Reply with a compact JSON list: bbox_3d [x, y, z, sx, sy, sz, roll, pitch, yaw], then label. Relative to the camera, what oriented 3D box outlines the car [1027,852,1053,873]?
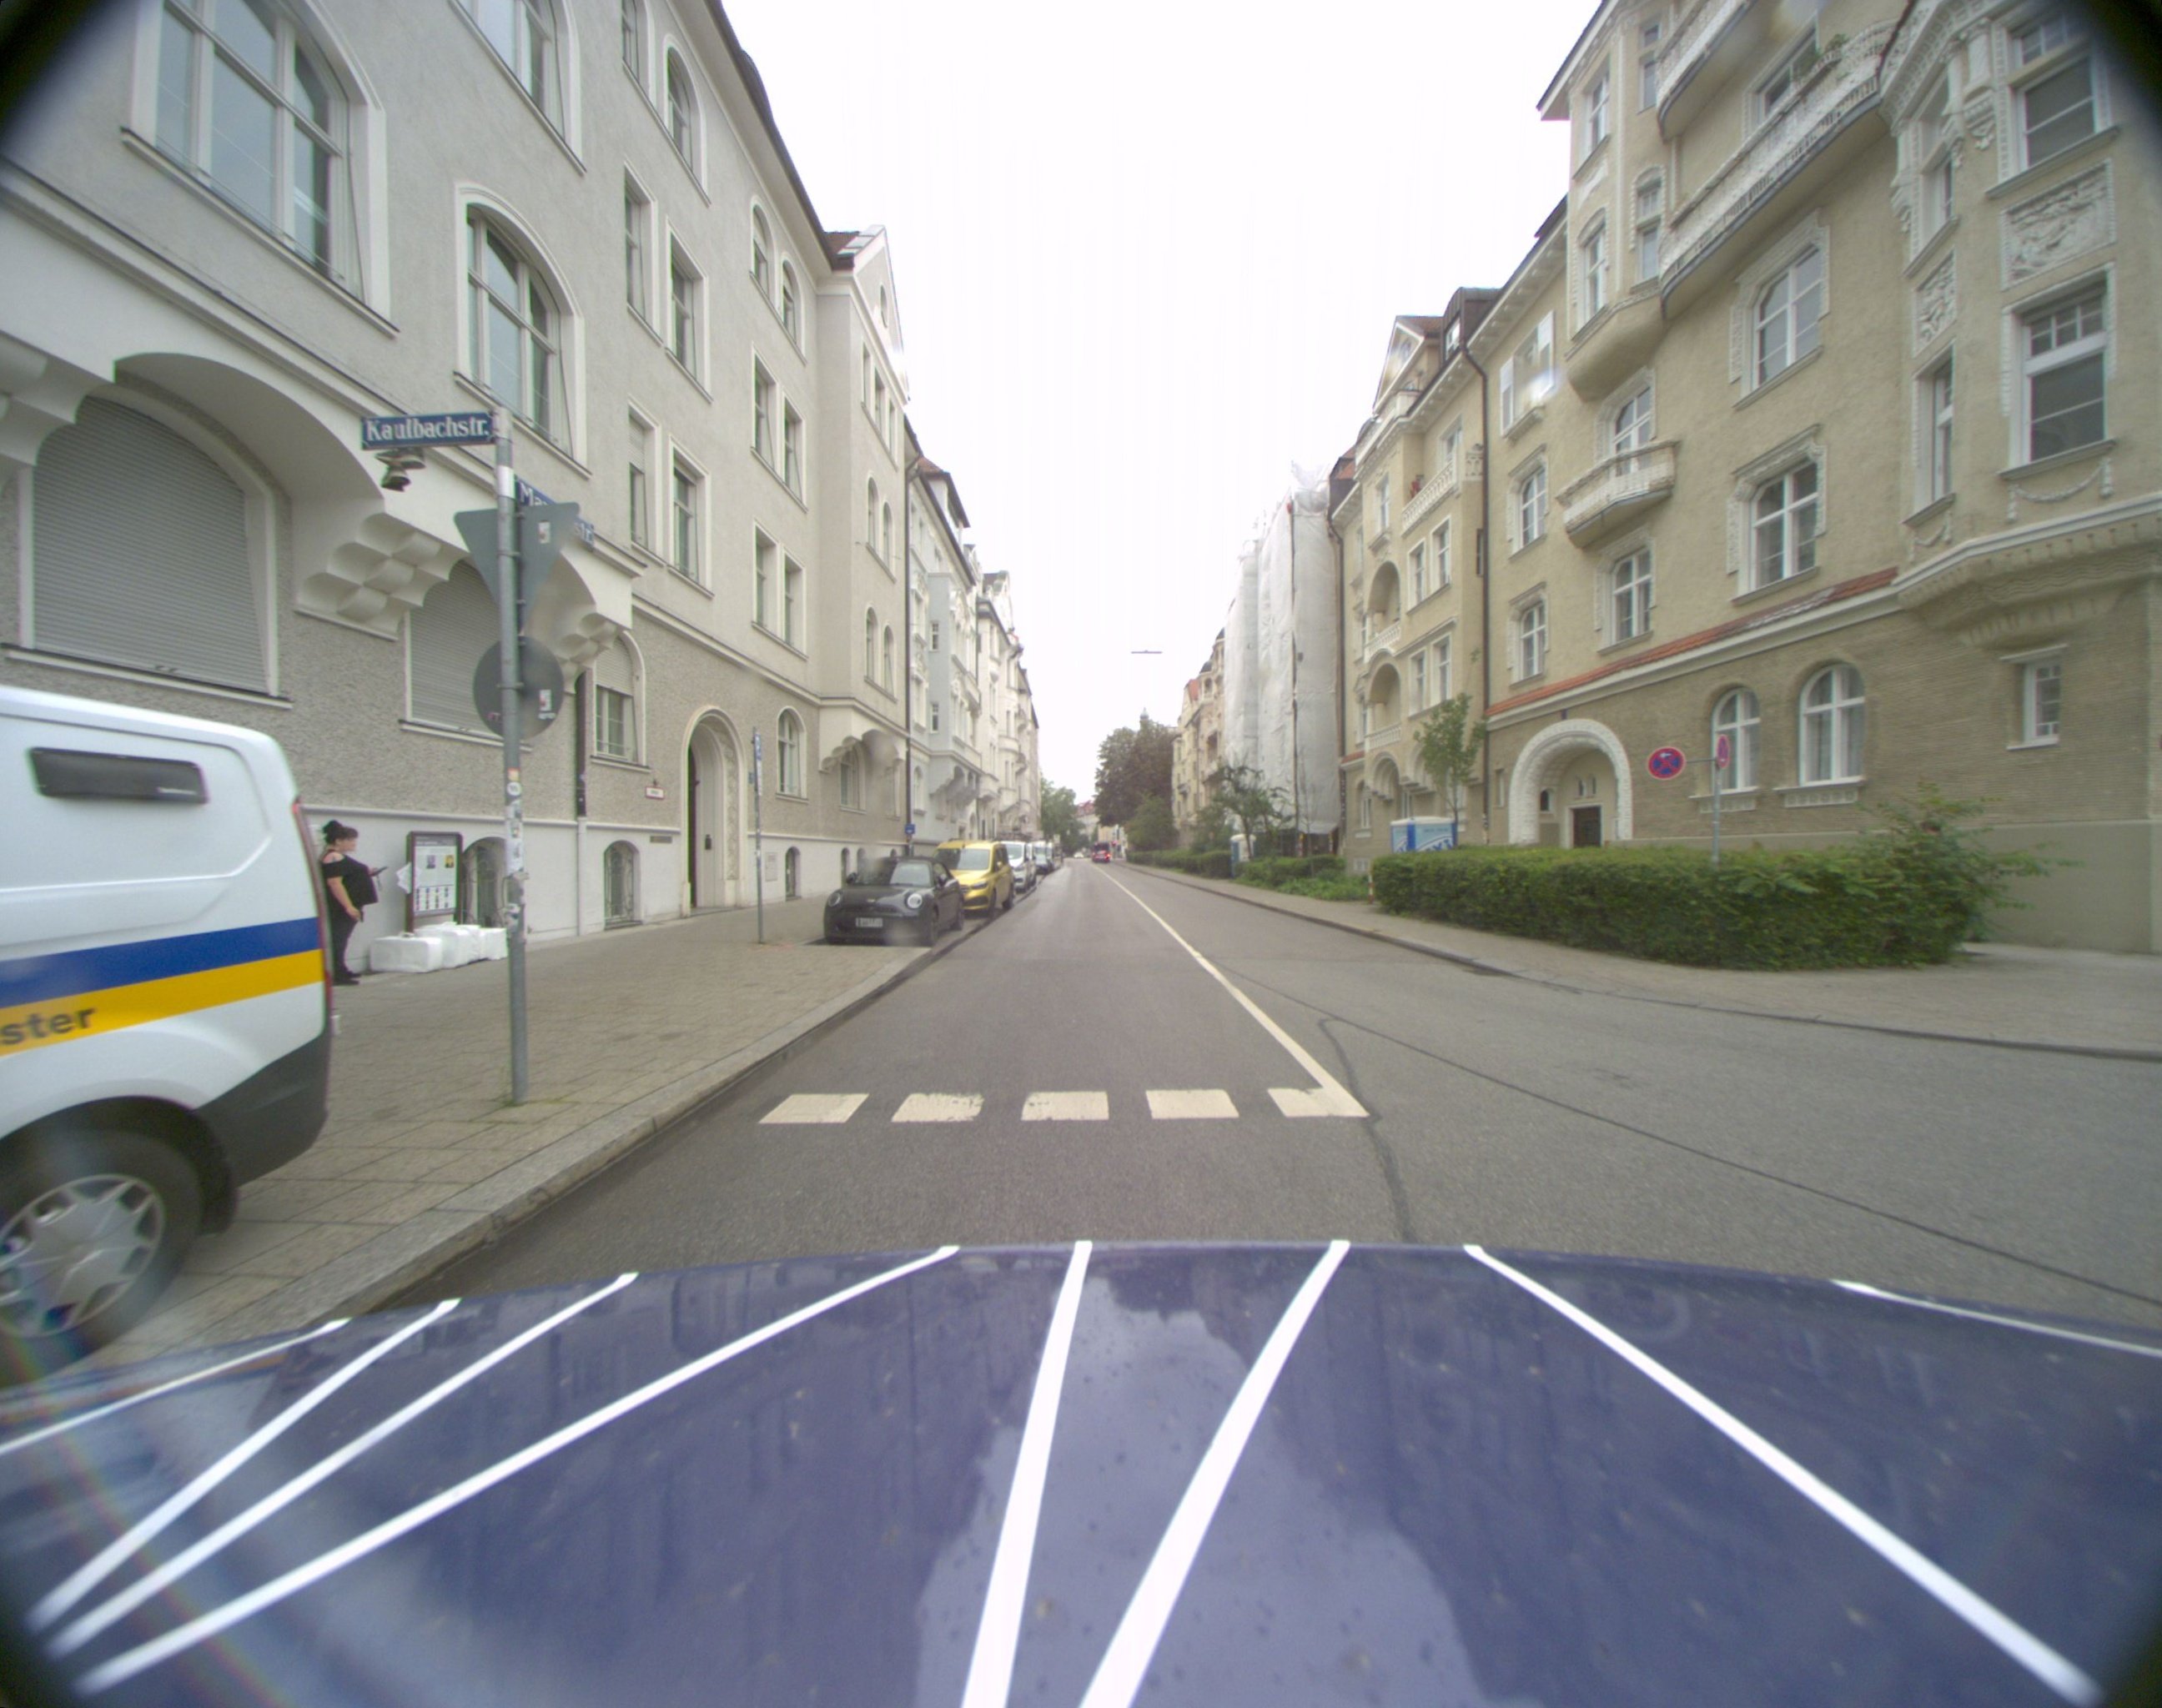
[{"bbox_3d":[-2.926,0.590,54.912,1.758,1.426,4.086,0,1,-1],"label":"car"}]

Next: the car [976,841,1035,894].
[{"bbox_3d":[-2.878,0.468,29.924,1.964,1.926,4.992,0,0,-2],"label":"car"}]

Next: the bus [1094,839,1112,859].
[{"bbox_3d":[3.454,-0.811,120.160,2.586,3.083,8.922,0,0,0],"label":"bus"}]

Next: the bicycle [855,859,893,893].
[{"bbox_3d":[-7.167,0.731,26.395,0.696,1.087,2.037,2,0,1],"label":"bicycle"}]

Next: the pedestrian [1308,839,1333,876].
[{"bbox_3d":[11.489,0.147,36.489,0.916,1.741,0.948,0,1,0],"label":"pedestrian"}]

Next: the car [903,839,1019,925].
[{"bbox_3d":[-2.791,0.591,18.824,1.854,1.842,4.821,0,0,3],"label":"car"}]

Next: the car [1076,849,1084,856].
[{"bbox_3d":[-0.232,-0.345,181.728,1.927,1.608,3.999,0,1,-1],"label":"car"}]

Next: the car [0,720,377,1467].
[{"bbox_3d":[-3.753,0.617,0.562,1.921,1.950,4.926,1,0,-1],"label":"car"}]

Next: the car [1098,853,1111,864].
[{"bbox_3d":[3.222,0.572,103.626,1.588,1.471,3.782,0,0,0],"label":"car"}]

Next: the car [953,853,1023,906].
[{"bbox_3d":[-2.847,0.738,23.920,1.635,1.475,3.783,0,1,1],"label":"car"}]

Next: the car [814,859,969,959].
[{"bbox_3d":[-3.122,0.844,13.309,1.668,1.449,3.896,0,0,1],"label":"car"}]

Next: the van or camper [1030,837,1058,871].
[{"bbox_3d":[-2.878,-0.029,60.861,1.958,2.621,5.458,0,1,0],"label":"van or camper"}]

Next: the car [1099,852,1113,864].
[{"bbox_3d":[3.621,0.542,109.871,1.772,1.635,4.273,0,0,0],"label":"car"}]

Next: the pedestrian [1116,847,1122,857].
[{"bbox_3d":[7.359,-0.333,147.858,0.952,2.002,1.397,0,1,10],"label":"pedestrian"}]

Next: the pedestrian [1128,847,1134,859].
[{"bbox_3d":[7.501,-0.144,113.668,0.910,1.735,0.847,0,1,-1],"label":"pedestrian"}]

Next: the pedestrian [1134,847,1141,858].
[{"bbox_3d":[8.575,-0.222,115.550,0.784,1.735,0.877,1,1,32],"label":"pedestrian"}]

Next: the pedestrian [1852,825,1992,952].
[{"bbox_3d":[12.440,0.486,11.281,0.890,1.799,1.056,0,1,-4],"label":"pedestrian"}]

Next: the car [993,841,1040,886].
[{"bbox_3d":[-3.011,0.390,36.255,1.964,2.002,4.992,0,0,-2],"label":"car"}]
